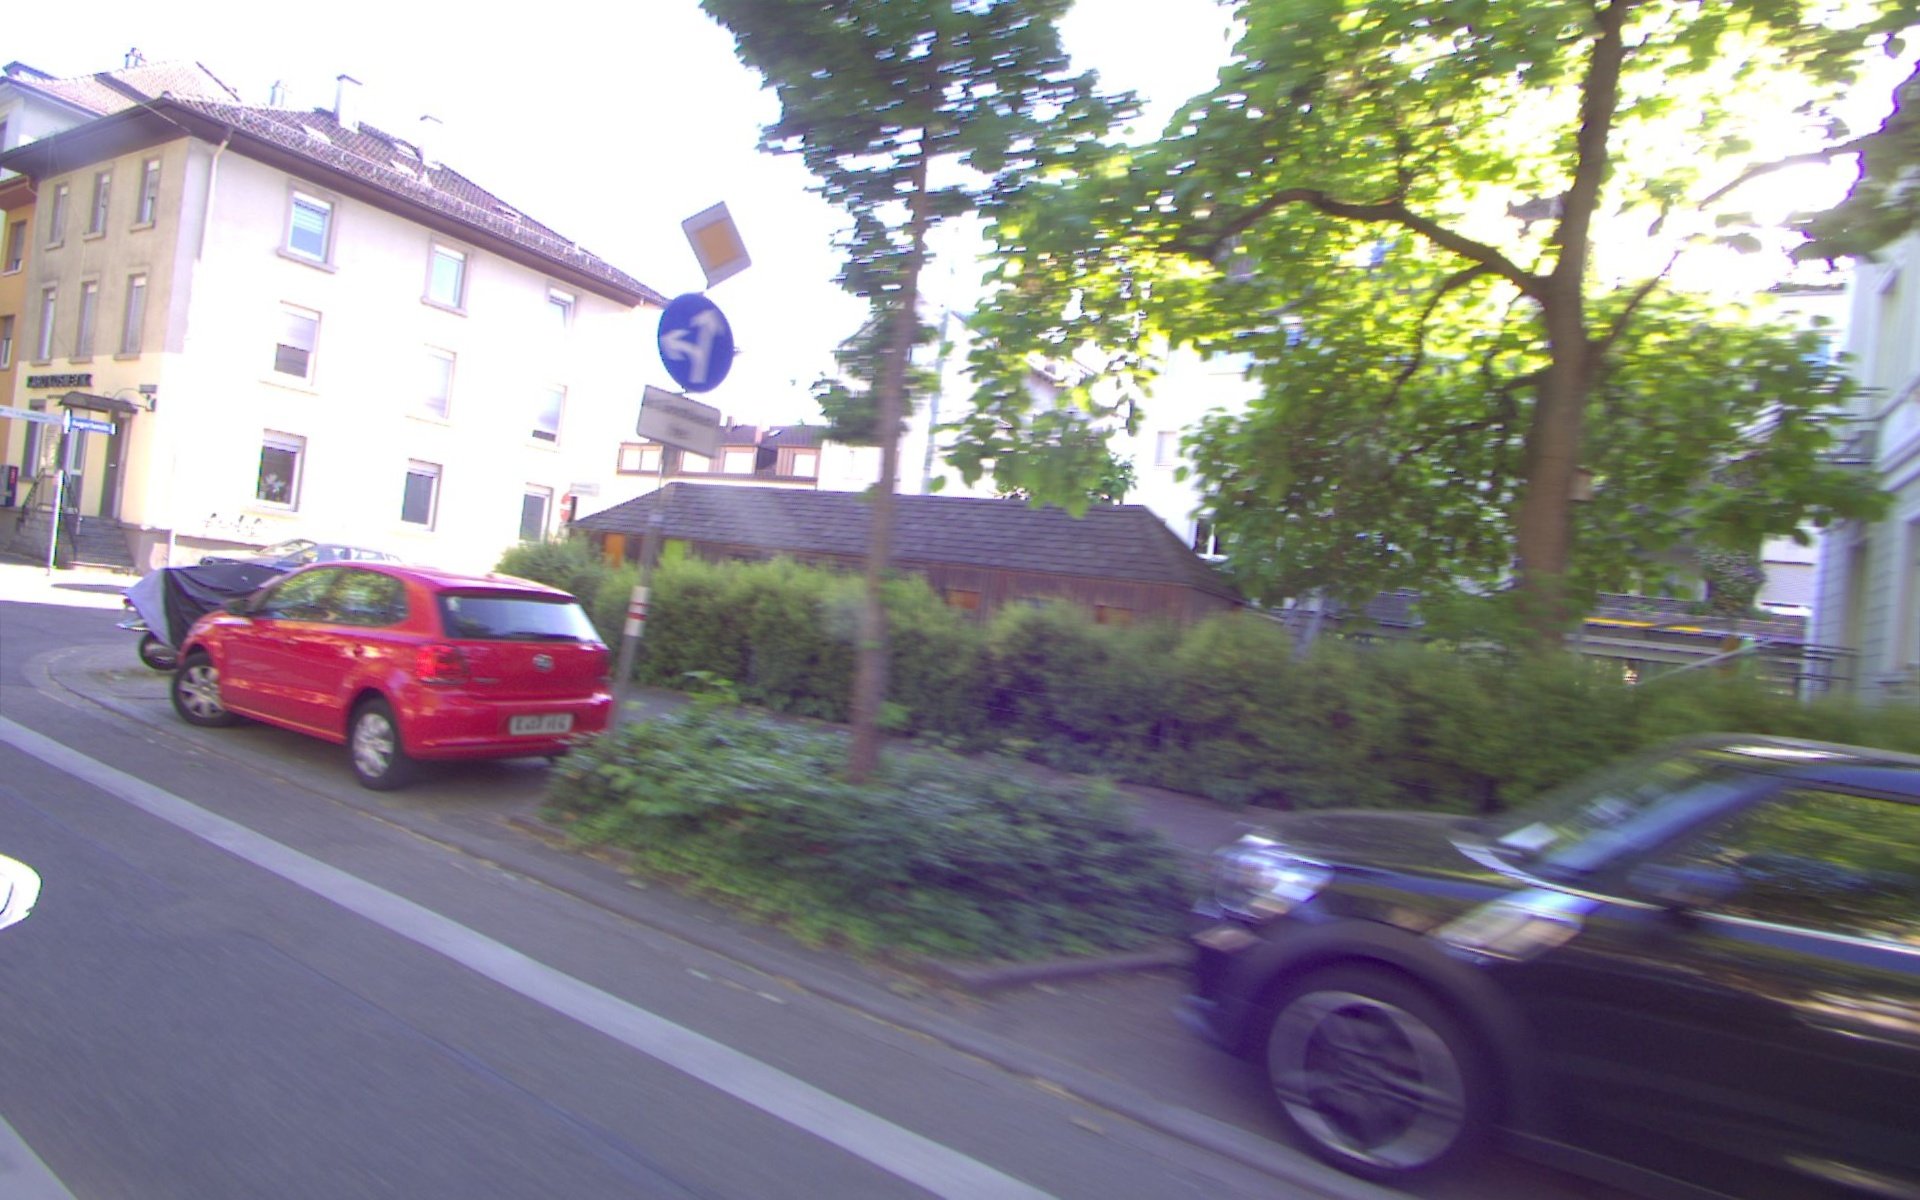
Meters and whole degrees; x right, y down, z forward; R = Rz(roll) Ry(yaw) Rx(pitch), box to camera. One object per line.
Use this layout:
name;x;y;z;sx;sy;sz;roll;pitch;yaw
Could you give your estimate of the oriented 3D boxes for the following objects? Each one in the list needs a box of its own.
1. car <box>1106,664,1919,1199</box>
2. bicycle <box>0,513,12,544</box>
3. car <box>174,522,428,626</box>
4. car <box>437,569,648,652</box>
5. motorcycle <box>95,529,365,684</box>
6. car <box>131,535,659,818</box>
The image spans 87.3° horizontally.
car;2.715;1.227;3.265;3.968;1.533;1.714;6;1;30
bicycle;-27.037;-2.041;28.229;1.768;0.798;0.474;6;-2;44
car;-14.422;-0.522;22.246;1.860;1.616;4.193;7;-2;35
car;-11.220;0.341;27.413;1.885;1.560;4.944;7;-3;35
motorcycle;-7.420;0.099;10.293;2.082;1.375;0.913;6;0;-42
car;-4.387;0.420;7.694;3.911;1.442;1.704;6;2;30
